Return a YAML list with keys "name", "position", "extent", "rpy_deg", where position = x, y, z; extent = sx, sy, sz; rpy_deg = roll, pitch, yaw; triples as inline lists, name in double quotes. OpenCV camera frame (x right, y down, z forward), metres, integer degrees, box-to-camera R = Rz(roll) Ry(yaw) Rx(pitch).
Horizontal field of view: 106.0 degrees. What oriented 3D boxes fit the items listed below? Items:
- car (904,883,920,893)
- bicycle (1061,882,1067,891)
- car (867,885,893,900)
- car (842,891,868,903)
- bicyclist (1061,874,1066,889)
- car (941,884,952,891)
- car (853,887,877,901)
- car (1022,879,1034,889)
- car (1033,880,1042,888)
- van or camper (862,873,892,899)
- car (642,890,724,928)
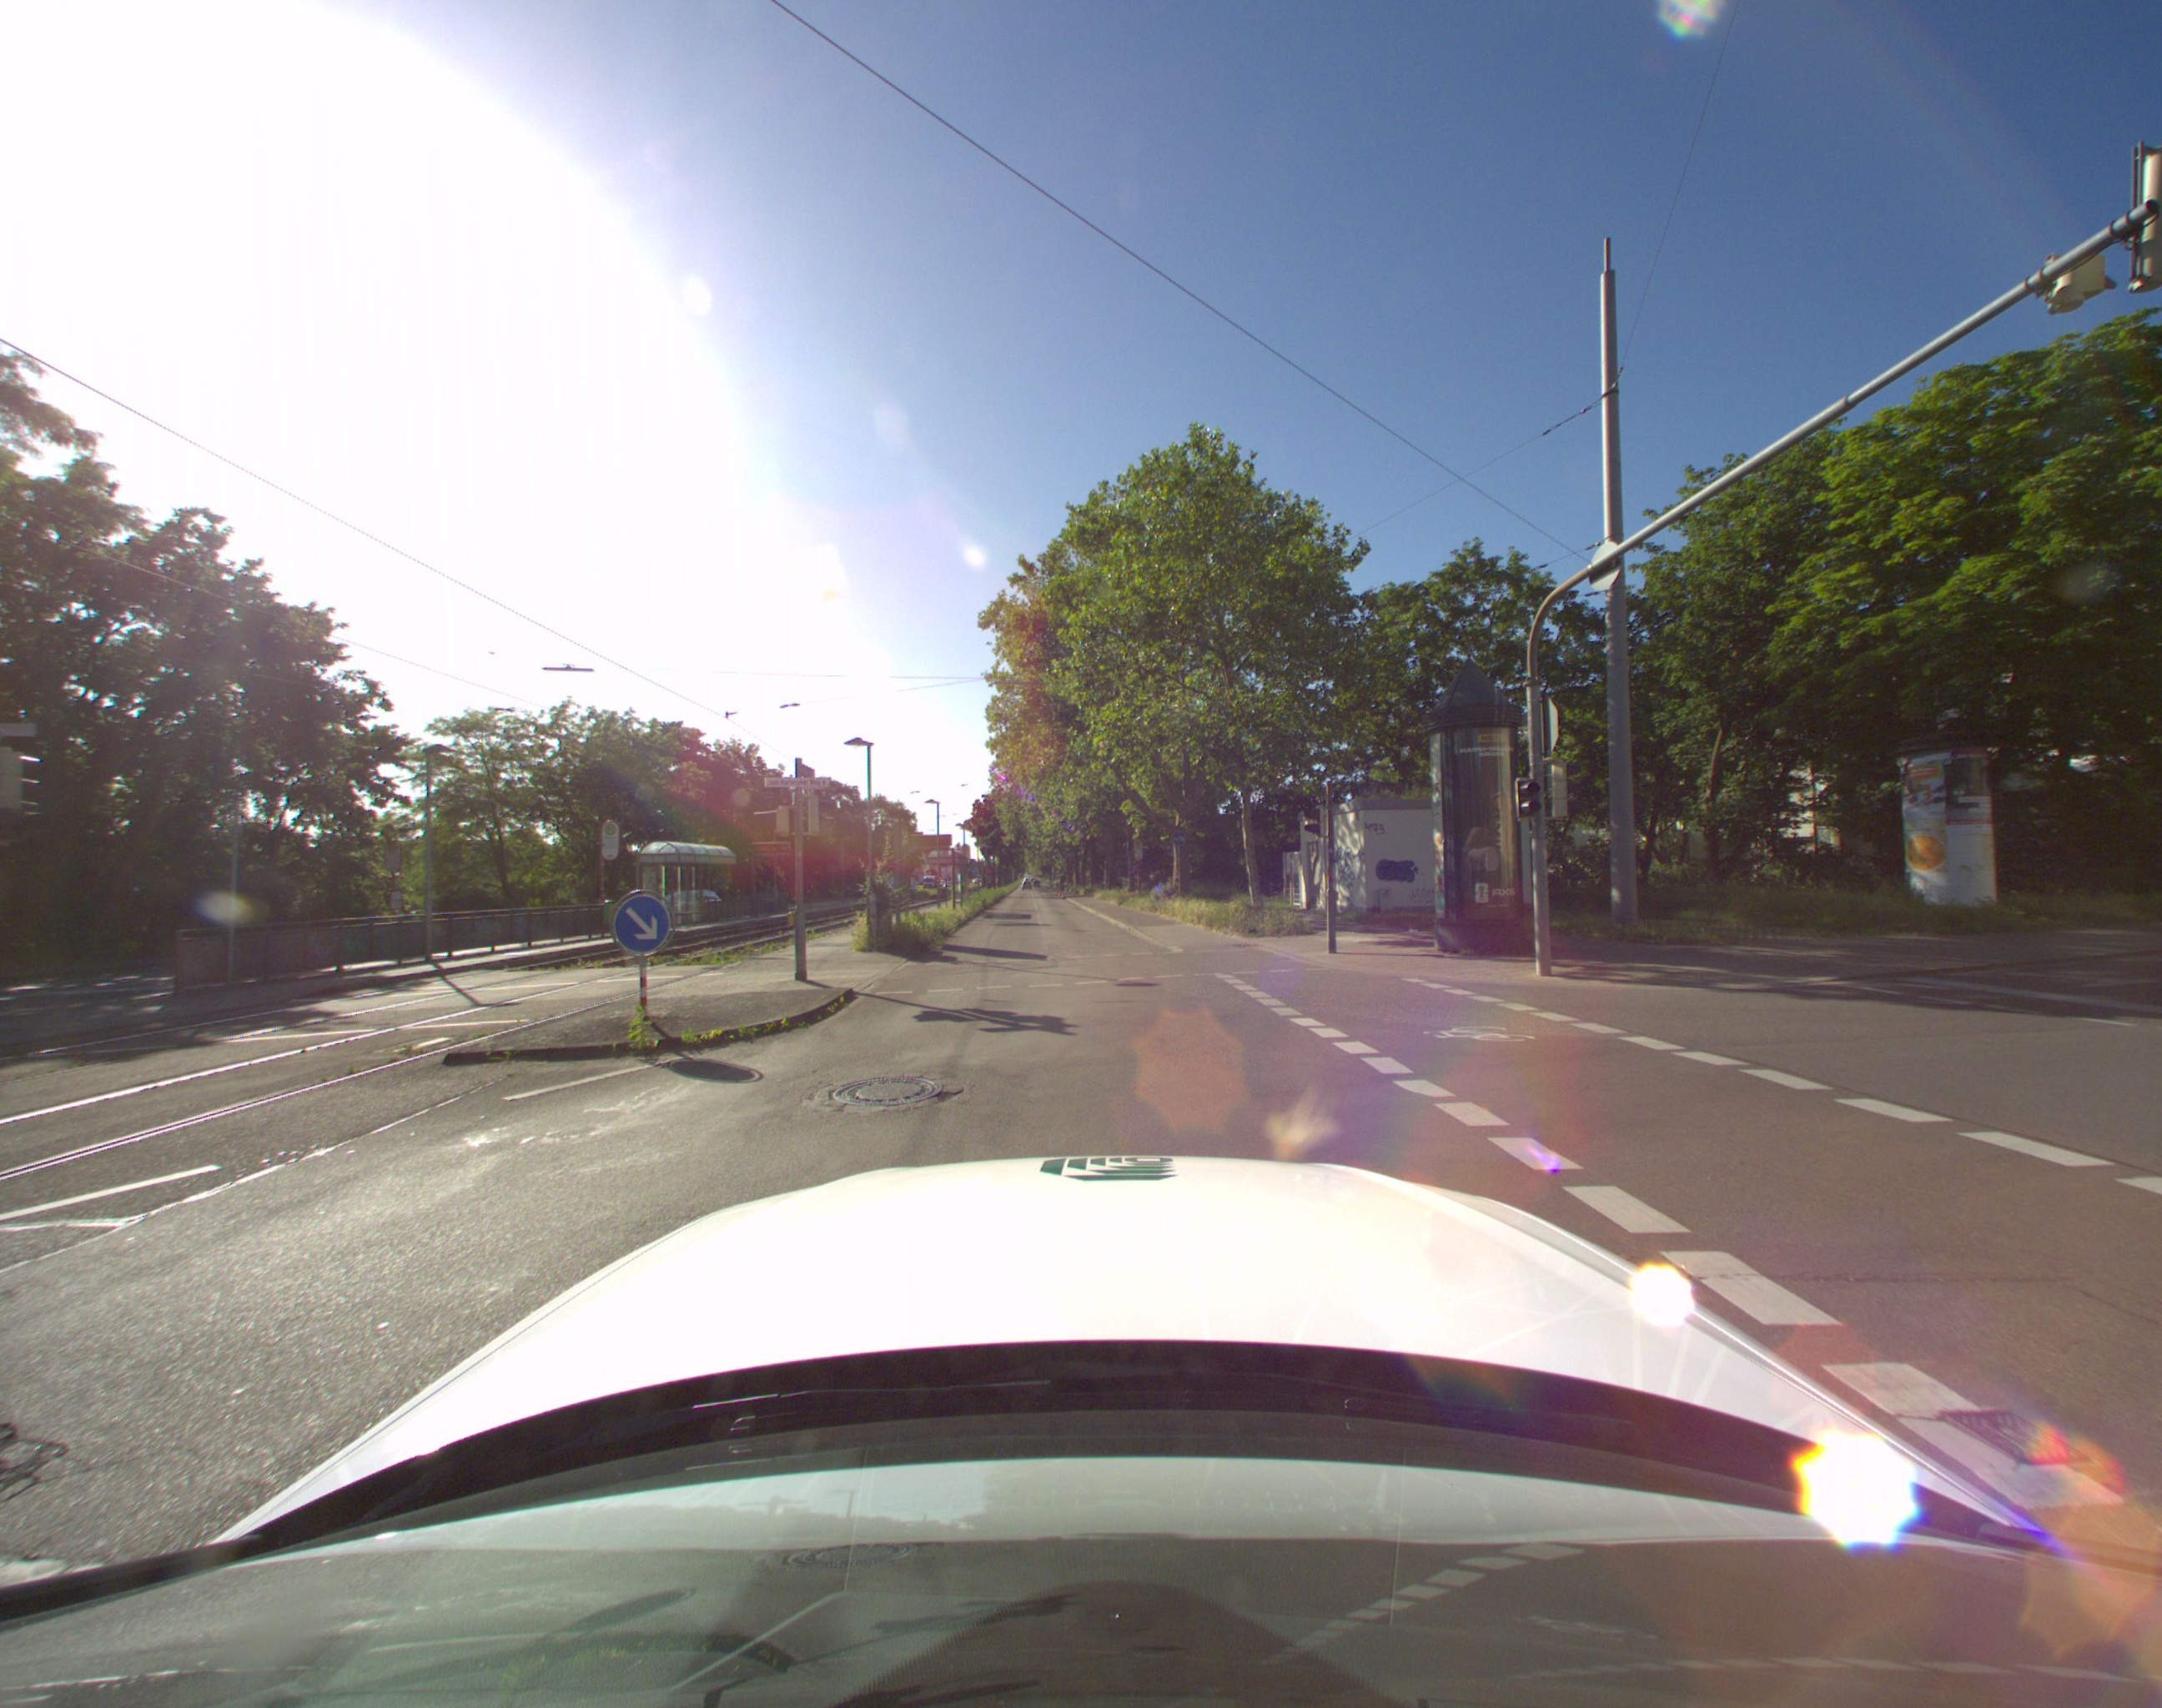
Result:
- name: "car"
  position: [-28.667, 5.725, 138.367]
  extent: [1.916, 1.577, 3.996]
  rpy_deg: [-1, -2, -2]
- name: "bicycle"
  position: [-2.096, 3.960, 99.229]
  extent: [0.535, 1.066, 1.430]
  rpy_deg: [-1, -2, -6]
- name: "car"
  position: [-21.417, 4.089, 87.059]
  extent: [1.990, 1.470, 4.368]
  rpy_deg: [-1, -2, -5]
- name: "car"
  position: [-25.798, 4.882, 93.104]
  extent: [1.916, 1.266, 3.996]
  rpy_deg: [-2, -2, -2]
- name: "bicyclist"
  position: [-2.120, 3.380, 99.280]
  extent: [0.533, 1.770, 0.711]
  rpy_deg: [-1, -2, -6]
- name: "car"
  position: [-30.341, 7.599, 183.646]
  extent: [1.916, 1.438, 3.996]
  rpy_deg: [-2, -2, -2]
- name: "car"
  position: [-26.140, 4.855, 98.873]
  extent: [1.915, 1.562, 3.997]
  rpy_deg: [-2, -2, -2]
- name: "car"
  position: [-8.522, 4.792, 130.577]
  extent: [1.863, 1.486, 3.550]
  rpy_deg: [-1, -2, -4]
- name: "car"
  position: [-8.936, 6.111, 167.196]
  extent: [1.747, 1.604, 3.744]
  rpy_deg: [0, -2, -4]
- name: "van or camper"
  position: [-26.447, 4.138, 105.925]
  extent: [2.584, 3.106, 6.777]
  rpy_deg: [-1, -2, -4]
- name: "car"
  position: [-17.074, 2.310, 35.111]
  extent: [1.802, 1.467, 3.993]
  rpy_deg: [-1, -2, -4]
